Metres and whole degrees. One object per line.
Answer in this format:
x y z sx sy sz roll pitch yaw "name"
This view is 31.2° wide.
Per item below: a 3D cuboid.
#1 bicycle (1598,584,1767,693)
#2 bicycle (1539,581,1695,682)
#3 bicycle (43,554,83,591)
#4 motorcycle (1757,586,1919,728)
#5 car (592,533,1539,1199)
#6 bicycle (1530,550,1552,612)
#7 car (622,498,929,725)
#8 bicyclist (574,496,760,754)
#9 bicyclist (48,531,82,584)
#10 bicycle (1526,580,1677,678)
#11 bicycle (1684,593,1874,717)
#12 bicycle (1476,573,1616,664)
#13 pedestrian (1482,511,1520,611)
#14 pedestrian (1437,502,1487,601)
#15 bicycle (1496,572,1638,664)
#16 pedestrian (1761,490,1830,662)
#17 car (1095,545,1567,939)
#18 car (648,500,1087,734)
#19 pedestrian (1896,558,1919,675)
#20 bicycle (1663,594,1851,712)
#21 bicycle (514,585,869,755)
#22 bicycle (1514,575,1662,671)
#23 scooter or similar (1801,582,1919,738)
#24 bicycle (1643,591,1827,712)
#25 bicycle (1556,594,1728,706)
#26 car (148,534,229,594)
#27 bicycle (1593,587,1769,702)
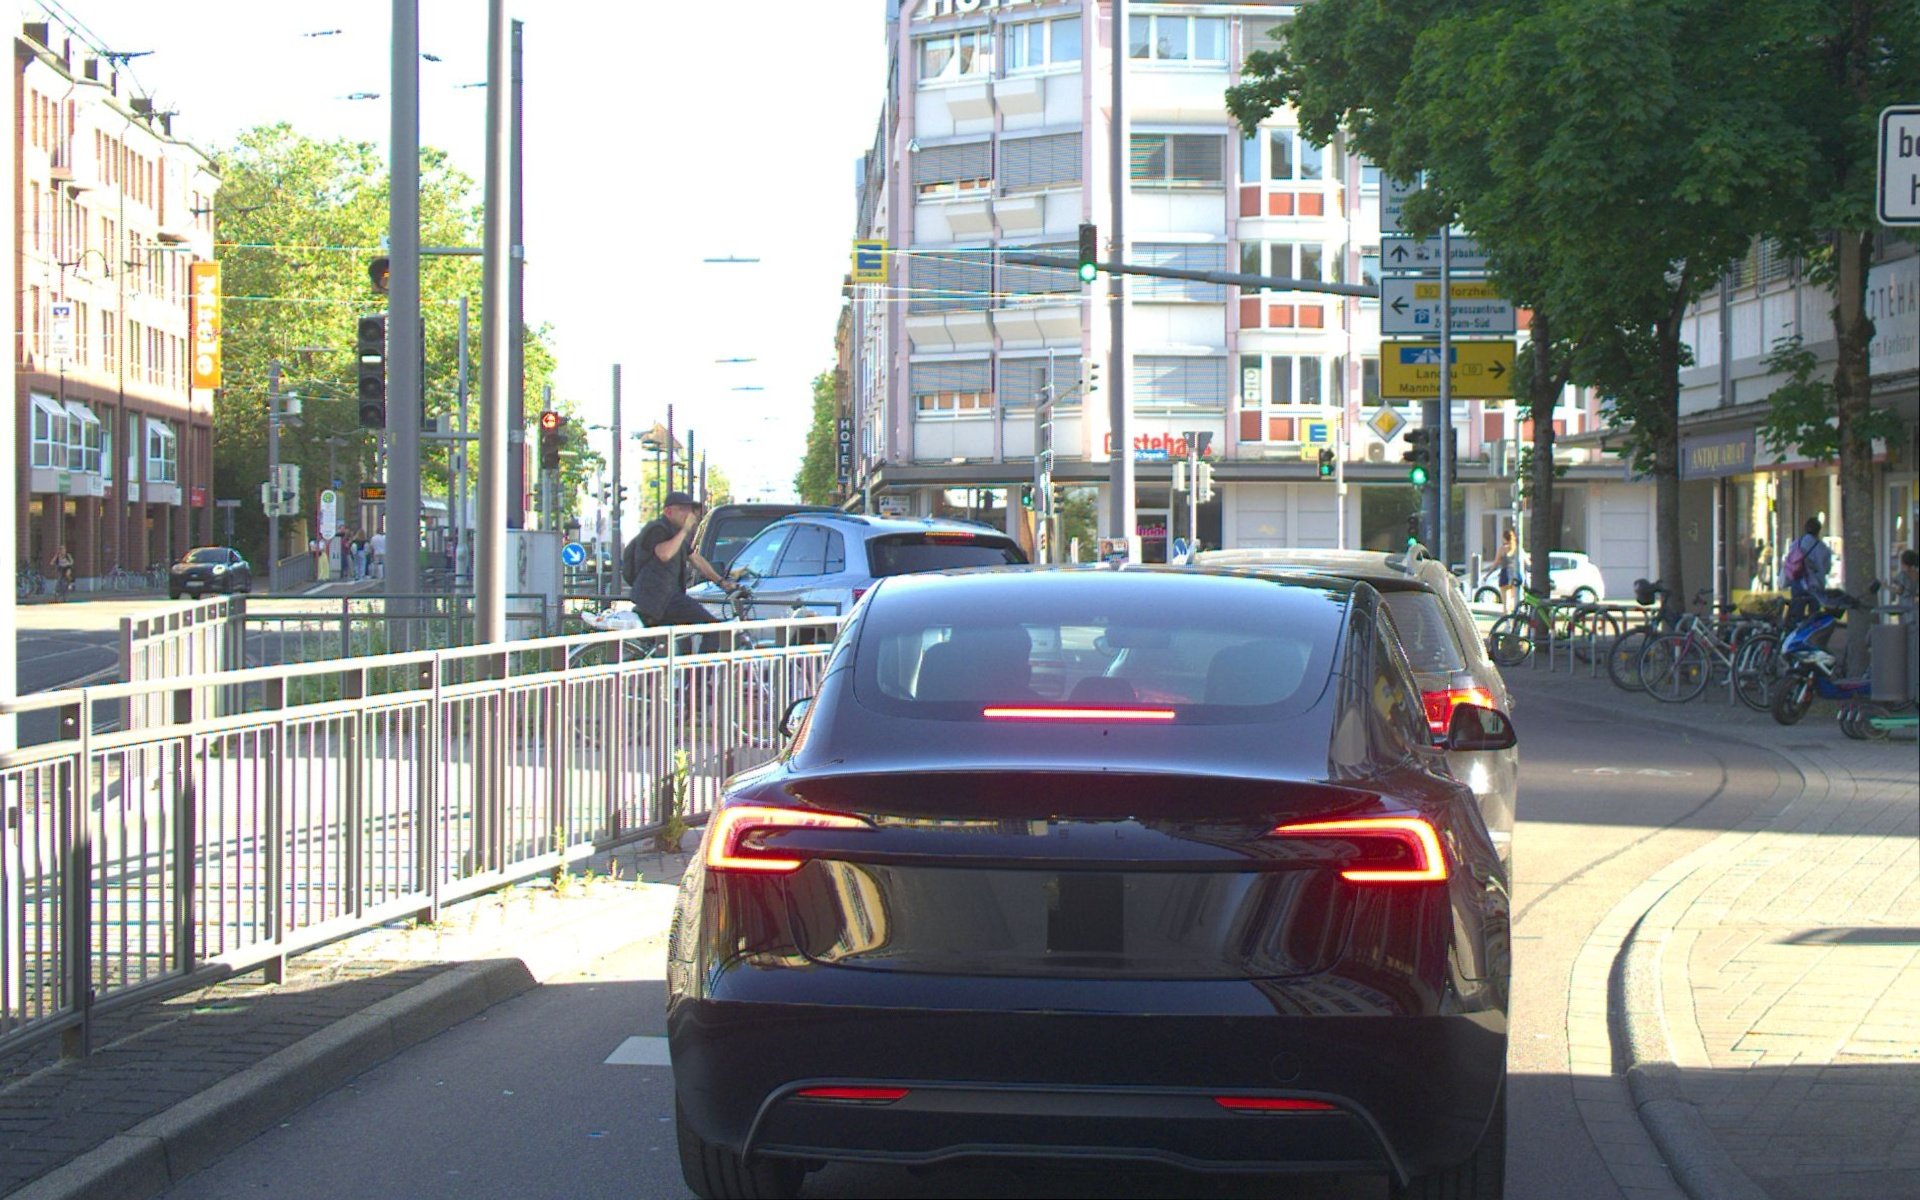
7.422 0.392 35.346 1.650 1.095 0.350 1 0 1 "bicycle"
7.313 0.343 38.298 1.650 1.095 0.350 1 0 1 "bicycle"
-26.577 -0.819 101.866 0.529 1.085 2.224 1 1 1 "bicycle"
7.716 0.485 29.262 1.707 1.169 0.541 1 0 -2 "motorcycle"
0.348 0.589 8.701 1.829 1.450 3.999 1 1 4 "car"
9.847 -0.319 58.263 0.332 1.030 1.256 1 0 8 "bicycle"
-1.825 0.077 32.624 1.993 2.007 4.001 0 1 -17 "car"
-1.900 0.153 22.232 0.758 1.623 0.978 0 1 -39 "bicyclist"
-26.568 -1.247 102.032 0.784 1.558 0.746 1 0 2 "bicyclist"
7.333 0.330 39.325 1.650 1.095 0.350 1 0 1 "bicycle"
7.387 0.497 31.025 1.649 1.095 0.350 1 0 -10 "bicycle"
7.235 0.221 42.478 1.650 1.095 0.350 1 0 1 "bicycle"
9.258 -0.669 58.845 0.526 1.704 0.403 1 2 -5 "pedestrian"
8.565 -0.826 58.661 0.699 1.656 0.777 1 0 -1 "pedestrian"
7.303 0.212 41.384 1.650 1.095 0.350 0 1 1 "bicycle"
9.850 -0.285 40.544 0.662 2.007 0.579 1 0 2 "pedestrian"
1.601 0.500 14.991 1.751 1.449 3.999 1 1 6 "car"
-0.812 0.099 26.575 1.883 1.656 4.159 1 1 -25 "car"
11.024 0.188 39.520 0.389 1.339 0.513 1 0 2 "pedestrian"
7.290 0.485 31.447 1.649 1.057 0.350 1 0 -10 "bicycle"
-1.729 0.441 22.418 2.329 1.050 0.631 0 1 -38 "bicycle"
7.366 0.269 40.338 1.650 1.095 0.350 1 0 1 "bicycle"
7.561 0.473 27.187 1.644 1.211 0.644 1 0 30 "scooter or similar"
7.185 0.477 31.870 1.649 1.095 0.350 1 0 -10 "bicycle"
6.796 0.501 34.275 1.649 1.095 0.350 1 0 -10 "bicycle"
-22.827 -1.059 101.844 1.697 1.725 3.707 1 1 -3 "car"
7.003 0.434 33.398 1.649 1.095 0.350 1 0 -10 "bicycle"
